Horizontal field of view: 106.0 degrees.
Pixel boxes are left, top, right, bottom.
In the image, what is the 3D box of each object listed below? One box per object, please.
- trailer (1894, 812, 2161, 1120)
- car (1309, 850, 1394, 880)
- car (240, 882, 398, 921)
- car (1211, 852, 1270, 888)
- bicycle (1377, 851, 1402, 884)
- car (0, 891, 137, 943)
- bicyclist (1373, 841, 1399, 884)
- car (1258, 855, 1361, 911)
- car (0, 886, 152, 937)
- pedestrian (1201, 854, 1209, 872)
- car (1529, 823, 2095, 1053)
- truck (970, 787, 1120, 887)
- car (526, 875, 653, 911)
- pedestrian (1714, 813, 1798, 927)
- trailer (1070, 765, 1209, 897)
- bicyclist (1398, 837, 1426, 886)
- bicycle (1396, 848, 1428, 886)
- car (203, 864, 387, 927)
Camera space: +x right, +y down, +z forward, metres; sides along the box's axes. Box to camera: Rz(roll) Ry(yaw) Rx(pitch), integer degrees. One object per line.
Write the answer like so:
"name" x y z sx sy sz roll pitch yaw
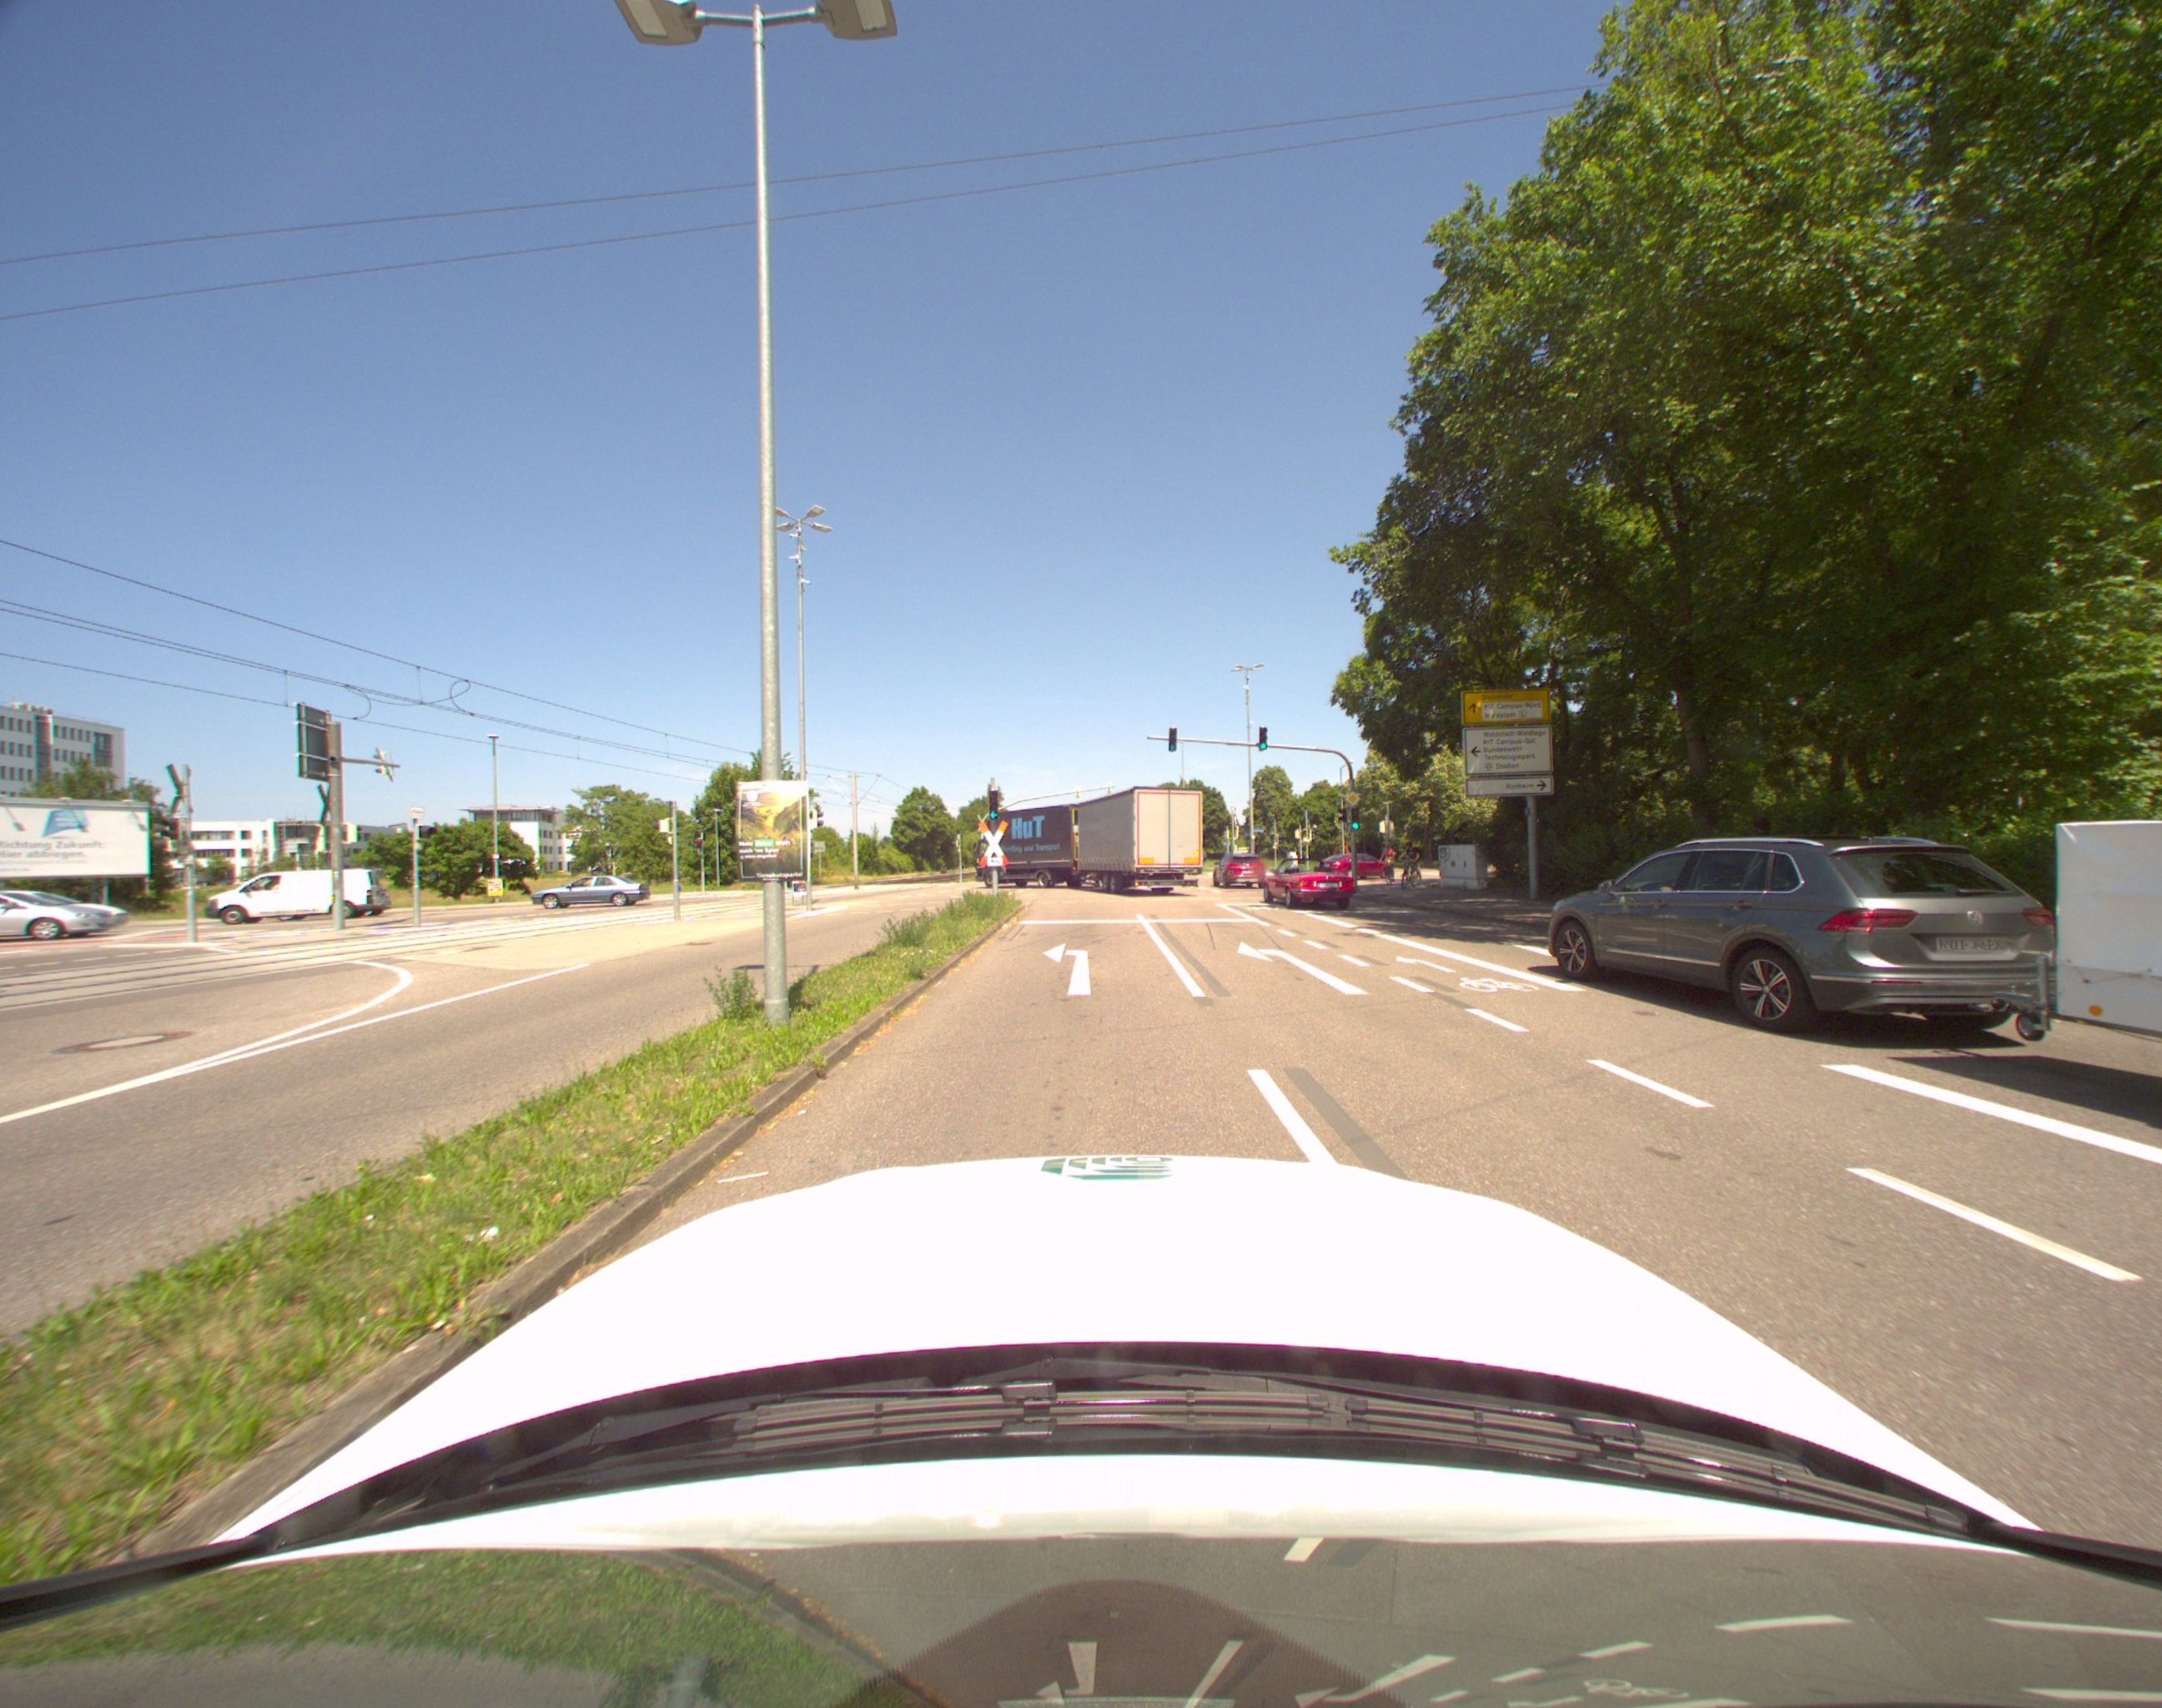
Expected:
"trailer" 6.596 0.605 4.444 1.464 1.669 2.855 0 0 -1
"car" 15.157 0.615 45.594 4.514 1.503 1.982 -2 0 -29
"car" -32.123 1.981 34.510 4.431 1.371 1.886 -1 1 -21
"car" 7.120 0.682 36.742 1.852 1.549 3.886 0 0 -1
"bicycle" 12.670 0.550 33.467 0.640 1.304 1.631 -4 -1 12
"car" -31.251 1.883 23.835 4.294 1.293 1.981 -1 1 -30
"bicyclist" 12.600 0.347 33.691 0.797 1.727 0.681 -4 -1 11
"car" 6.258 0.747 22.769 1.650 1.396 4.266 0 0 -1
"car" -33.846 1.878 26.543 4.294 1.412 1.880 -1 1 -31
"pedestrian" 14.277 1.054 93.746 0.740 2.013 0.613 0 0 1
"car" 6.521 0.606 8.111 1.694 1.654 4.397 0 0 -1
"truck" -1.965 -0.631 39.605 2.851 4.345 8.185 0 -2 -40
"car" -21.588 1.688 35.962 4.424 1.371 1.889 -1 1 -16
"pedestrian" 11.132 0.255 13.451 0.750 1.816 0.693 -2 0 -1
"trailer" 1.973 -0.784 31.852 2.831 4.421 8.706 0 0 -14
"bicyclist" 11.895 0.273 29.277 0.717 1.703 0.683 -4 -1 34
"bicycle" 11.938 0.467 29.345 0.717 1.295 1.313 -4 -1 33
"car" -30.451 1.540 31.789 4.763 2.111 1.980 -1 1 -31
